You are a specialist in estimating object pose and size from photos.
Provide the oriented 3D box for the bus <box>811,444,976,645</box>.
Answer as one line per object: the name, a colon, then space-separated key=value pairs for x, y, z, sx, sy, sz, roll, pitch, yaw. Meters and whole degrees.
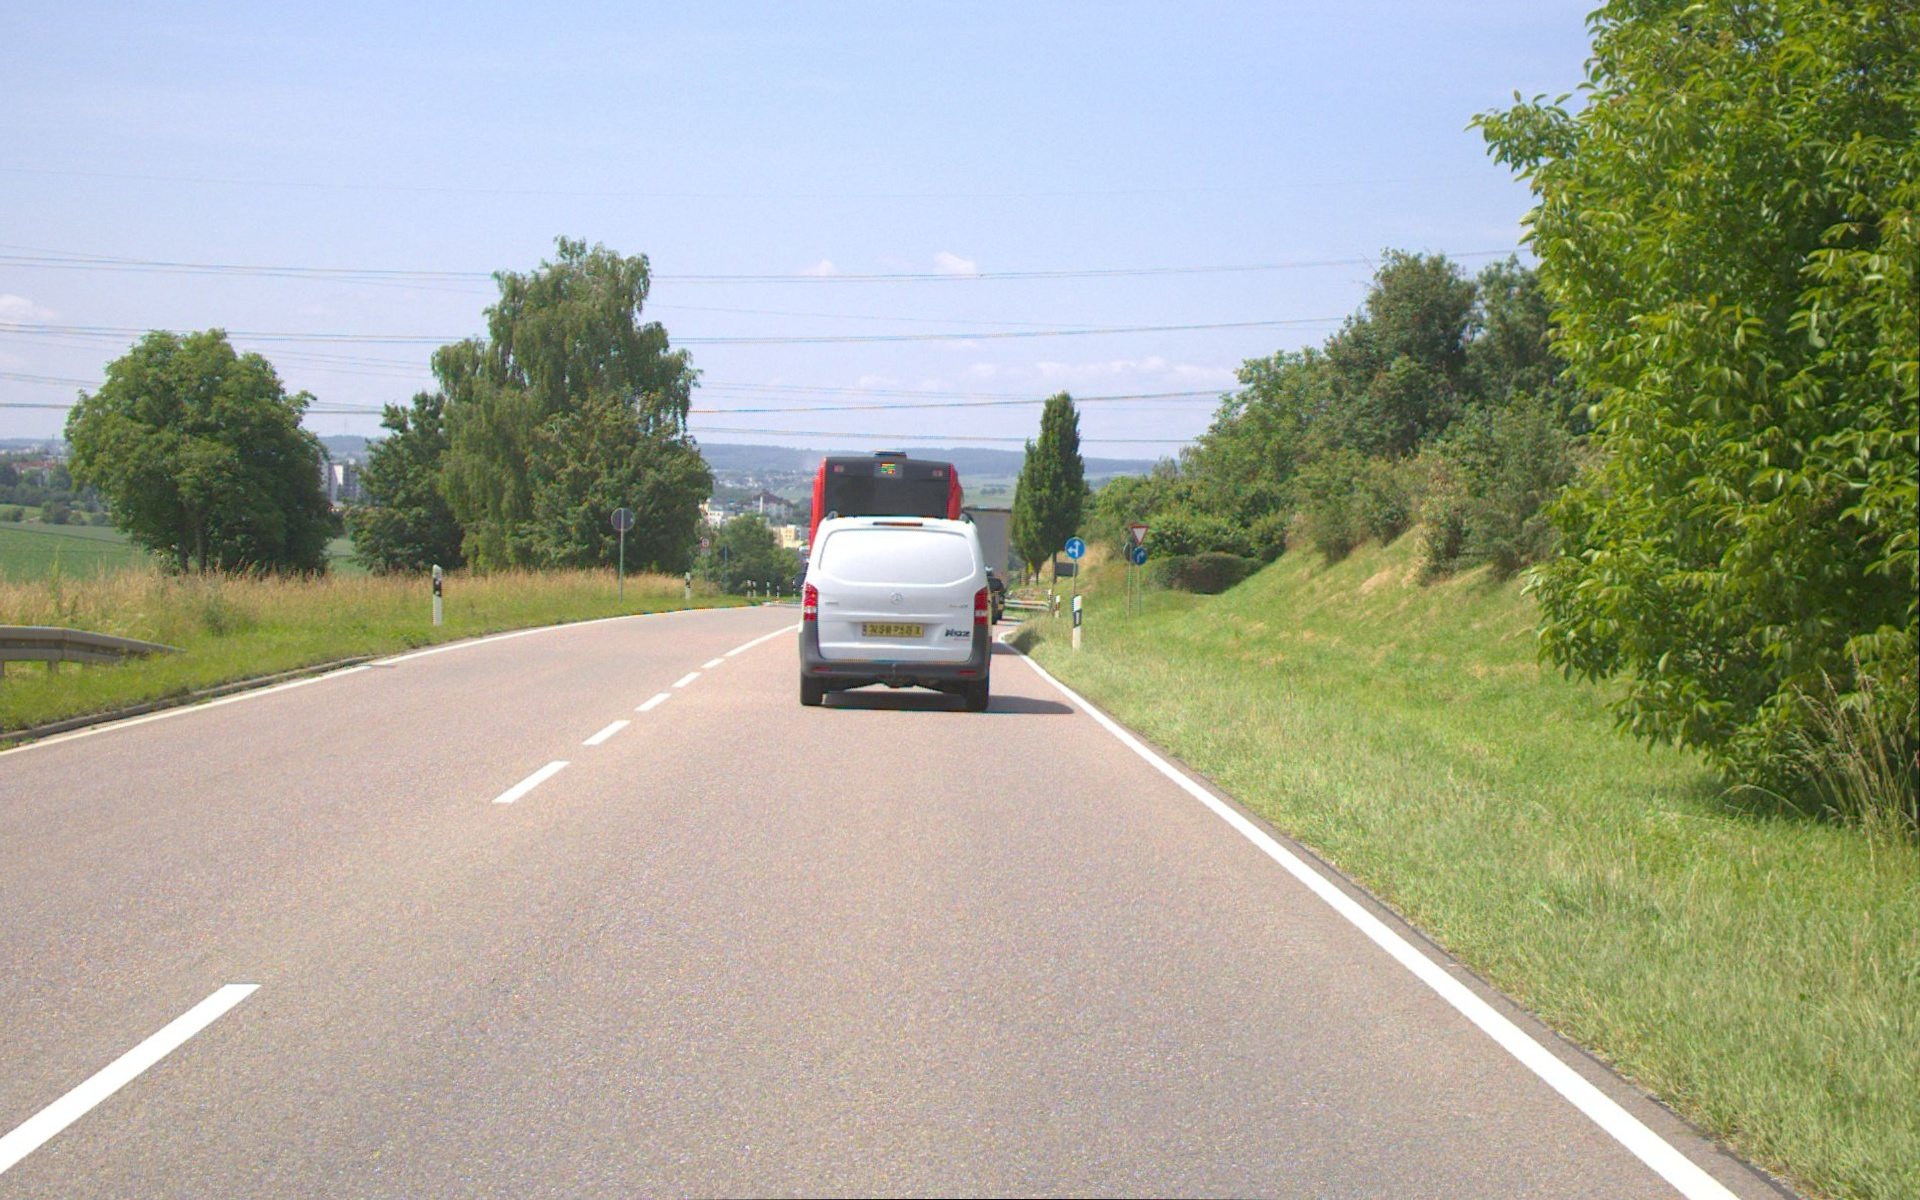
bus: x=-1.308 y=-1.153 z=63.817 sx=2.747 sy=3.342 sz=13.224 roll=0 pitch=2 yaw=-2

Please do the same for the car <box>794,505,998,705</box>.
car: x=-0.619 y=0.023 z=34.965 sx=1.923 sy=1.883 sz=4.000 roll=1 pitch=1 yaw=0

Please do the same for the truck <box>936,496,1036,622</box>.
truck: x=0.892 y=-1.547 z=130.041 sx=3.488 sy=4.408 sz=14.903 roll=1 pitch=1 yaw=0

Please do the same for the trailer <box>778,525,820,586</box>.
trailer: x=-11.482 y=-3.137 z=245.638 sx=2.592 sy=4.129 sz=13.742 roll=2 pitch=0 yaw=-2

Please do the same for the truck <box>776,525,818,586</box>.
truck: x=-11.276 y=-3.075 z=237.846 sx=2.585 sy=4.090 sz=5.442 roll=2 pitch=0 yaw=-1
